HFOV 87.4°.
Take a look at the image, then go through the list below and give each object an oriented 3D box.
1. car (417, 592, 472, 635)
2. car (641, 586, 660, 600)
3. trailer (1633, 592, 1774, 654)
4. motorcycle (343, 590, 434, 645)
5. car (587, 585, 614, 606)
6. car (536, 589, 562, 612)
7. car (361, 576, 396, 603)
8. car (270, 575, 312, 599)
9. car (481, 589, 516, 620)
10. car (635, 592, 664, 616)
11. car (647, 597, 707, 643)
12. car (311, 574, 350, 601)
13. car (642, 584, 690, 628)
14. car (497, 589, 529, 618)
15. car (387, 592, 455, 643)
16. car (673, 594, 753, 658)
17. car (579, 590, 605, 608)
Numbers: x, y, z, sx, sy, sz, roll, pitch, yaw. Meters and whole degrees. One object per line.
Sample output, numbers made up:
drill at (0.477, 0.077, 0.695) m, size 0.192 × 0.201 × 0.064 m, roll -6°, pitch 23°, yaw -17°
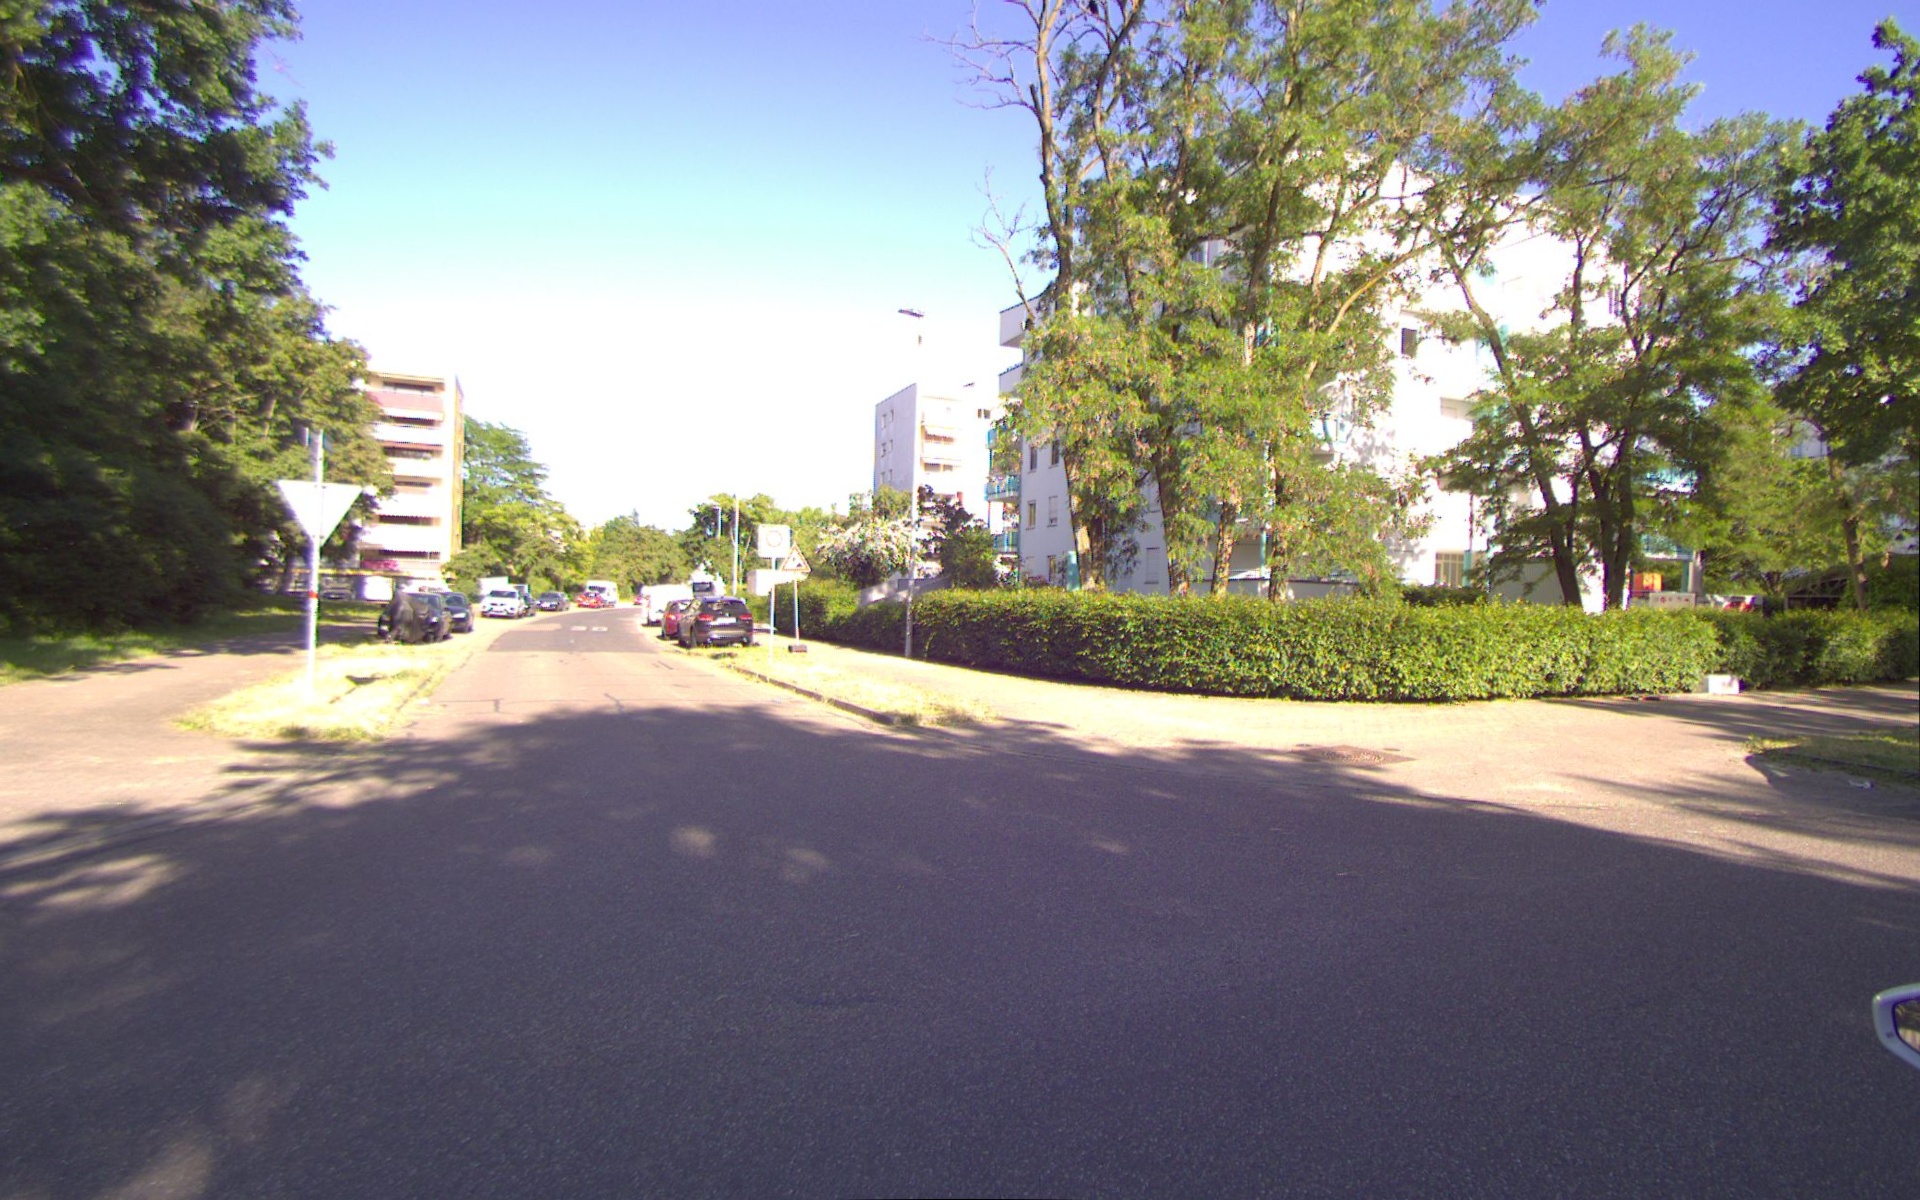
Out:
car at (-18.570, 0.454, 36.288) m, size 1.538 × 1.410 × 3.567 m, roll 1°, pitch 0°, yaw -24°
car at (-38.711, -0.824, 125.663) m, size 1.860 × 1.662 × 3.991 m, roll 2°, pitch 0°, yaw -12°
trailer at (26.065, 0.813, 35.226) m, size 4.365 × 2.070 × 1.972 m, roll 1°, pitch 0°, yaw -22°
motorcycle at (-14.978, 0.450, 26.363) m, size 0.664 × 1.362 × 1.955 m, roll 2°, pitch 0°, yaw 34°
car at (-34.567, -0.475, 96.749) m, size 1.950 × 1.925 × 3.989 m, roll 2°, pitch 0°, yaw -13°
car at (-30.212, 0.049, 73.753) m, size 1.623 × 1.578 × 3.813 m, roll 1°, pitch 0°, yaw -24°
car at (-41.274, -0.748, 71.368) m, size 1.738 × 1.767 × 3.813 m, roll 1°, pitch 0°, yaw -24°
car at (-45.945, -0.888, 69.057) m, size 1.775 × 1.547 × 3.813 m, roll 1°, pitch 0°, yaw -24°
car at (-25.042, 0.214, 54.554) m, size 1.623 × 1.578 × 3.813 m, roll 1°, pitch 0°, yaw -24°
car at (-20.174, 0.229, 65.241) m, size 1.499 × 1.486 × 3.056 m, roll 1°, pitch 0°, yaw -23°
car at (-10.528, 0.718, 37.222) m, size 1.615 × 1.531 × 3.813 m, roll 1°, pitch 0°, yaw -24°
car at (-44.121, -0.883, 70.459) m, size 1.738 × 1.767 × 3.813 m, roll 1°, pitch 0°, yaw -24°
car at (-14.779, 0.293, 50.334) m, size 1.803 × 2.088 × 3.813 m, roll 1°, pitch 0°, yaw -24°
car at (-26.669, 0.190, 59.959) m, size 1.623 × 1.578 × 3.813 m, roll 1°, pitch 0°, yaw -24°
car at (-16.353, 0.507, 30.584) m, size 1.538 × 1.410 × 3.567 m, roll 1°, pitch 0°, yaw -24°
car at (-7.662, 0.751, 30.936) m, size 1.732 × 1.808 × 3.813 m, roll 1°, pitch 0°, yaw -24°
car at (-33.550, -0.096, 91.664) m, size 1.796 × 1.617 × 3.989 m, roll 2°, pitch 0°, yaw -13°
